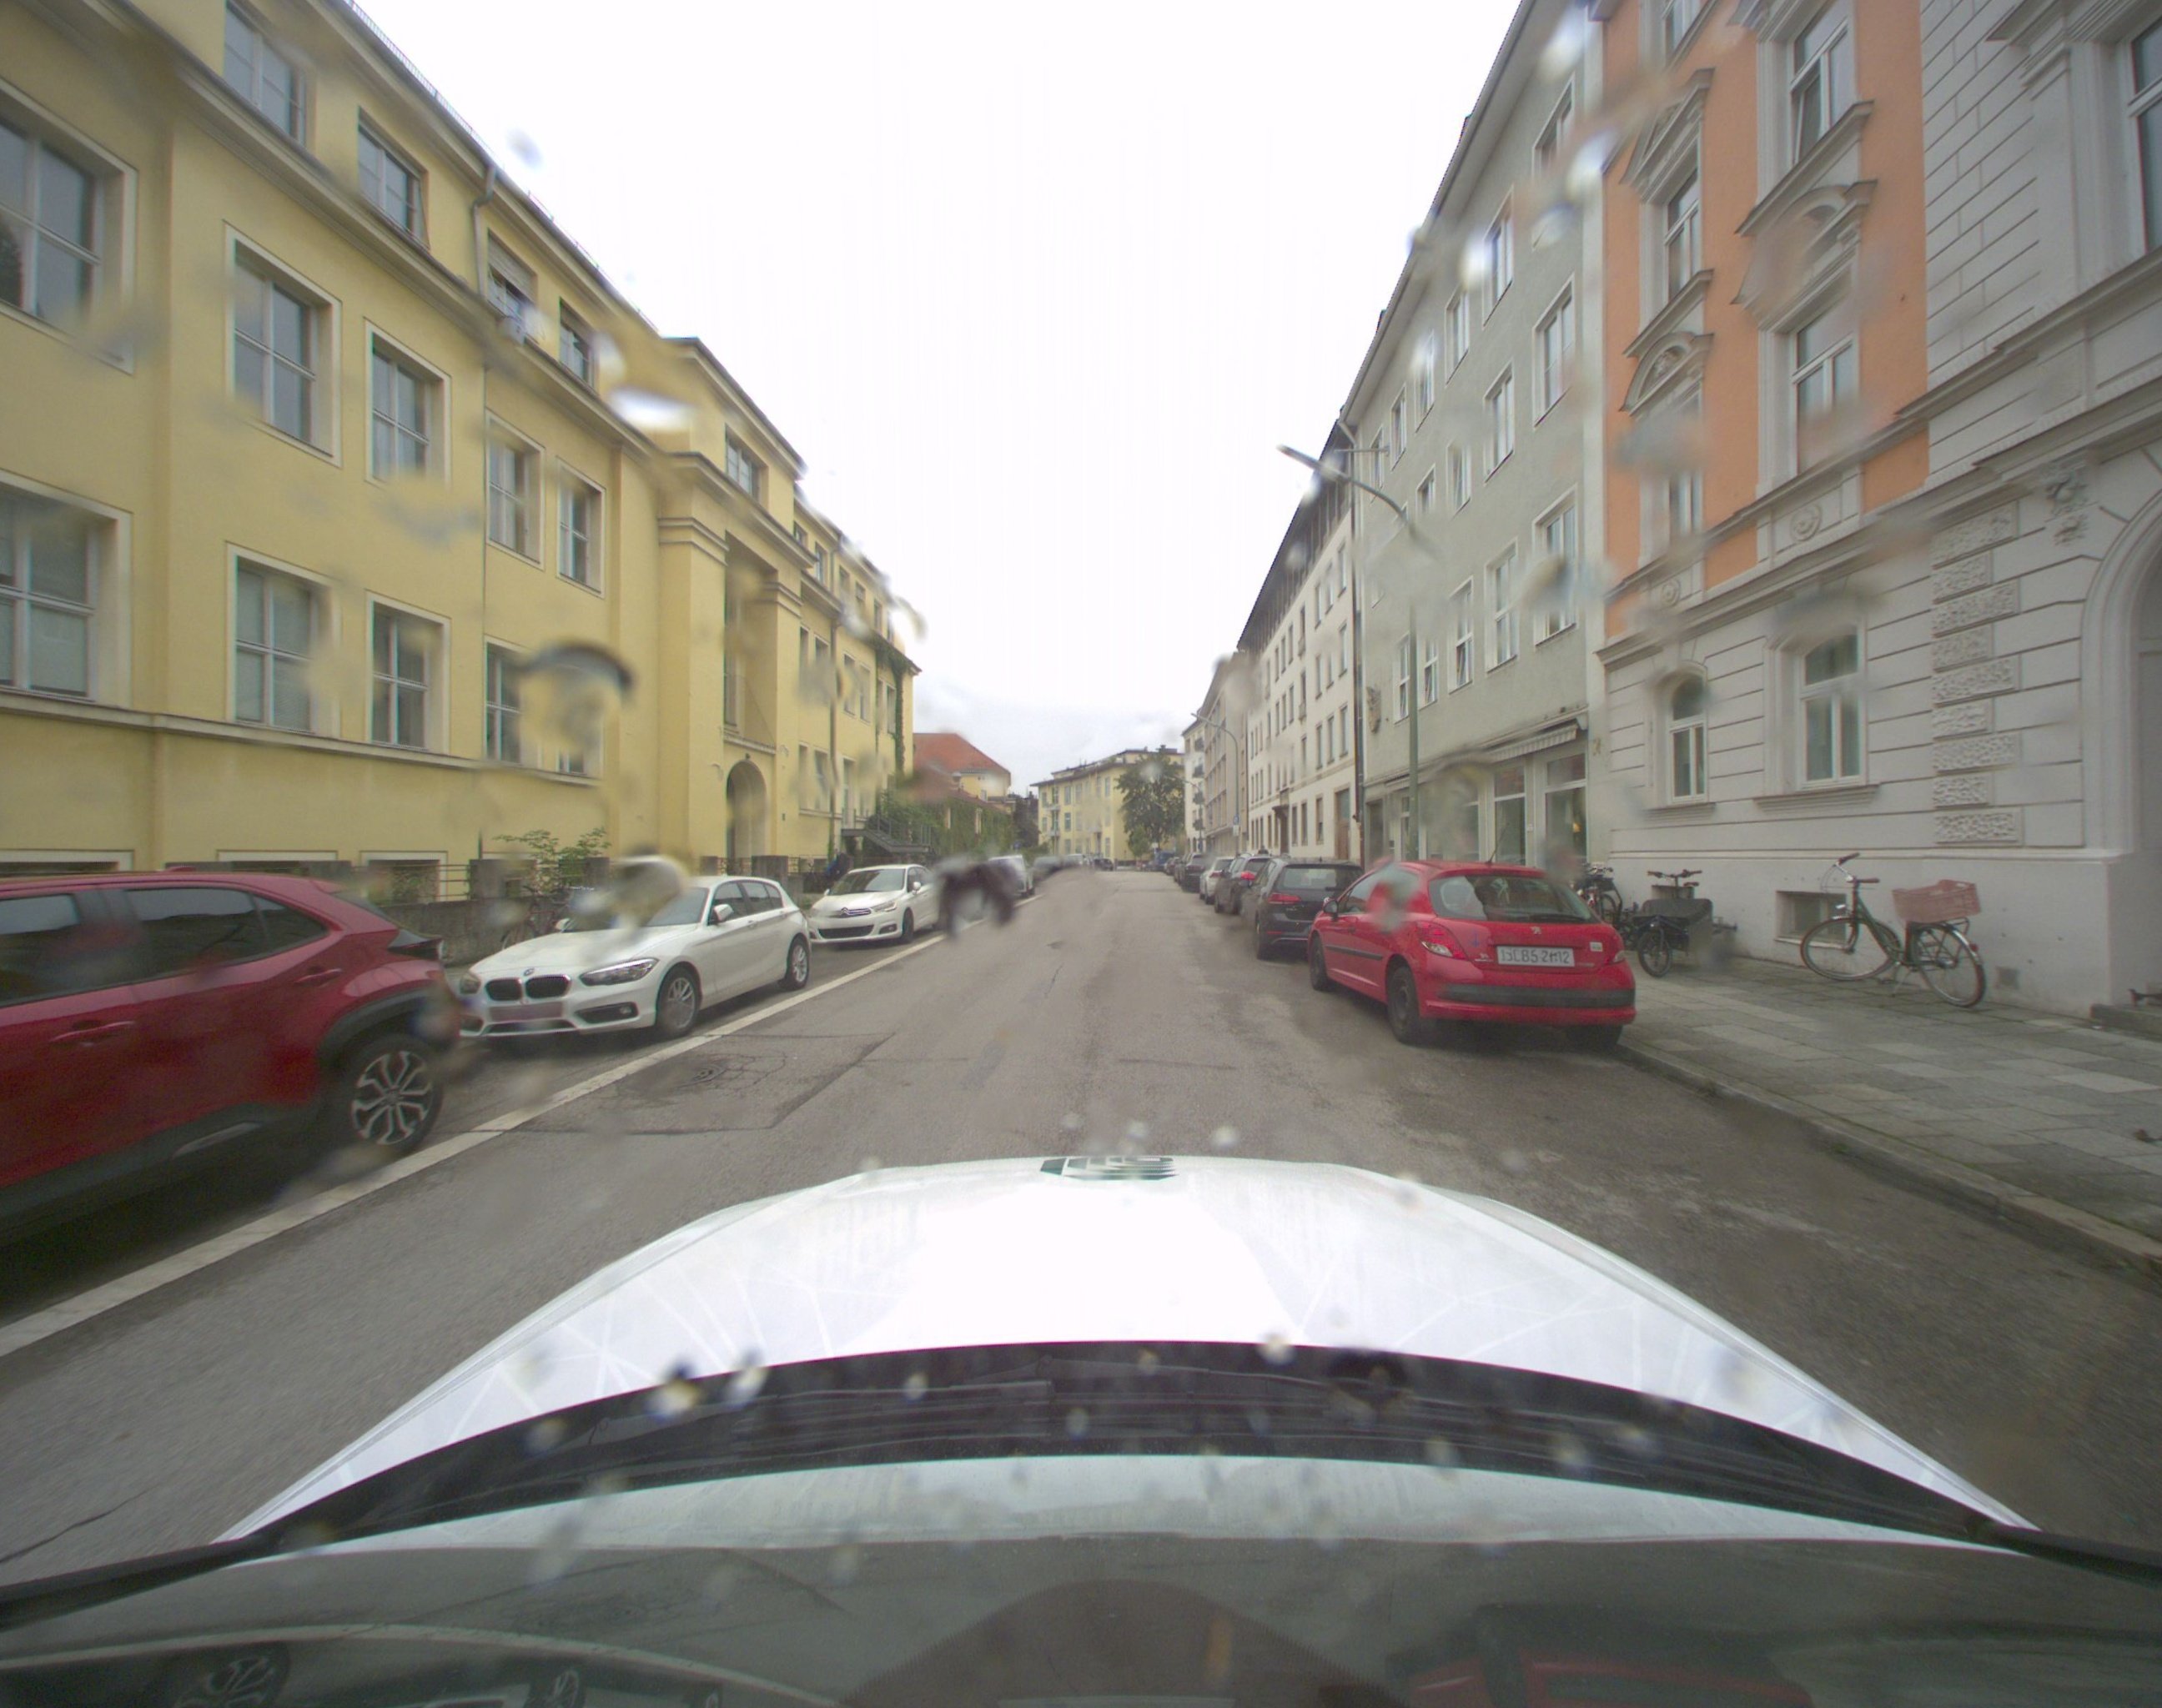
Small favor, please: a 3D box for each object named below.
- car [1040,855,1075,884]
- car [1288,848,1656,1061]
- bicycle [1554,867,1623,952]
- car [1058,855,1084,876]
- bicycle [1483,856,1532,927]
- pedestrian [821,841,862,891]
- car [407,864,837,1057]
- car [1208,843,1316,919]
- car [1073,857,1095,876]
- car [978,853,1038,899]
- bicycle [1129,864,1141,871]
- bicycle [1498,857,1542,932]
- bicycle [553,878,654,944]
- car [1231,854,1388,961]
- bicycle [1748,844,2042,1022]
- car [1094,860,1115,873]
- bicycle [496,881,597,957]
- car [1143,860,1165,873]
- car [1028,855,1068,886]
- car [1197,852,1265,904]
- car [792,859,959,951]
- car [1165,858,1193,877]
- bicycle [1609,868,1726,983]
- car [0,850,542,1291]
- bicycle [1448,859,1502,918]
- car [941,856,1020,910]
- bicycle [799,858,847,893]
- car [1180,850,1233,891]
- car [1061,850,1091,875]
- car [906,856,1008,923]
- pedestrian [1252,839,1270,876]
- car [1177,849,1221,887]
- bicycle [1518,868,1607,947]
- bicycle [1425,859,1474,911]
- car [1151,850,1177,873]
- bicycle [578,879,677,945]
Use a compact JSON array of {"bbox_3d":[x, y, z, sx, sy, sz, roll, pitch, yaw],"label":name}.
[{"bbox_3d":[-1.398,0.917,50.124,1.717,1.629,4.469,-2,-1,2],"label":"car"},{"bbox_3d":[3.388,0.735,8.027,1.681,1.500,4.148,2,0,1],"label":"car"},{"bbox_3d":[7.230,0.742,11.565,0.614,1.089,1.826,-1,0,39],"label":"bicycle"},{"bbox_3d":[-0.702,0.842,60.442,1.585,1.441,4.021,-3,-1,2],"label":"car"},{"bbox_3d":[7.855,0.670,15.032,0.247,1.255,1.234,-1,0,-1],"label":"bicycle"},{"bbox_3d":[-8.464,0.408,28.796,0.894,1.719,1.064,-1,0,19],"label":"pedestrian"},{"bbox_3d":[-4.357,0.877,8.811,1.787,1.429,4.667,-3,-1,2],"label":"car"},{"bbox_3d":[4.234,0.578,19.717,1.700,1.592,4.362,1,0,1],"label":"car"},{"bbox_3d":[0.304,1.177,76.182,1.690,1.643,4.493,-3,-1,3],"label":"car"},{"bbox_3d":[-2.759,0.807,31.670,1.739,1.634,4.858,-1,-1,2],"label":"car"},{"bbox_3d":[8.484,2.146,128.990,1.903,1.201,0.599,0,-1,41],"label":"bicycle"},{"bbox_3d":[7.599,0.675,14.135,0.247,1.255,0.916,-1,0,-1],"label":"bicycle"},{"bbox_3d":[-8.480,0.985,14.540,0.533,1.063,1.646,0,-1,14],"label":"bicycle"},{"bbox_3d":[3.453,0.710,13.078,1.679,1.402,4.370,1,0,5],"label":"car"},{"bbox_3d":[7.225,0.615,7.415,0.593,1.385,2.092,-1,0,1],"label":"bicycle"},{"bbox_3d":[3.707,1.913,128.327,1.767,1.874,4.352,4,-1,-18],"label":"car"},{"bbox_3d":[-8.279,0.970,12.695,0.573,1.063,1.637,0,-1,-4],"label":"bicycle"},{"bbox_3d":[8.736,1.481,97.538,1.676,1.389,4.293,4,-1,-8],"label":"car"},{"bbox_3d":[-1.770,0.894,45.275,1.782,1.587,4.821,-3,-1,2],"label":"car"},{"bbox_3d":[4.676,0.704,25.902,1.665,1.429,4.536,2,1,5],"label":"car"},{"bbox_3d":[-3.903,0.906,16.385,1.777,1.431,4.657,-5,-1,4],"label":"car"},{"bbox_3d":[7.729,1.072,64.365,1.738,1.388,4.956,2,0,2],"label":"car"},{"bbox_3d":[6.747,0.751,9.321,2.103,1.139,0.577,-1,0,-40],"label":"bicycle"},{"bbox_3d":[-4.625,0.775,3.122,1.950,1.482,4.531,-3,-1,2],"label":"car"},{"bbox_3d":[8.320,0.708,17.268,0.394,1.176,1.817,0,-1,4],"label":"bicycle"},{"bbox_3d":[-3.182,0.895,26.714,1.696,1.502,4.498,-5,-1,3],"label":"car"},{"bbox_3d":[-9.638,0.791,30.405,1.618,1.268,0.527,-1,0,5],"label":"bicycle"},{"bbox_3d":[5.031,0.647,33.166,1.830,1.522,4.716,1,0,6],"label":"car"},{"bbox_3d":[-0.361,0.671,65.896,1.878,1.889,4.780,-3,-1,5],"label":"car"},{"bbox_3d":[-3.170,0.867,21.589,1.692,1.497,4.153,-4,-1,4],"label":"car"},{"bbox_3d":[8.807,0.168,39.850,0.719,1.763,0.906,0,-2,5],"label":"pedestrian"},{"bbox_3d":[5.456,0.623,38.076,1.637,1.589,4.640,3,0,5],"label":"car"},{"bbox_3d":[7.210,0.762,12.165,1.856,1.067,0.510,0,0,-38],"label":"bicycle"},{"bbox_3d":[8.683,0.705,19.246,0.382,1.158,1.951,0,0,4],"label":"bicycle"},{"bbox_3d":[9.258,0.871,91.353,2.074,2.234,5.239,4,-3,-2],"label":"car"},{"bbox_3d":[-7.961,0.987,14.378,0.533,1.063,1.646,0,-1,14],"label":"bicycle"}]
